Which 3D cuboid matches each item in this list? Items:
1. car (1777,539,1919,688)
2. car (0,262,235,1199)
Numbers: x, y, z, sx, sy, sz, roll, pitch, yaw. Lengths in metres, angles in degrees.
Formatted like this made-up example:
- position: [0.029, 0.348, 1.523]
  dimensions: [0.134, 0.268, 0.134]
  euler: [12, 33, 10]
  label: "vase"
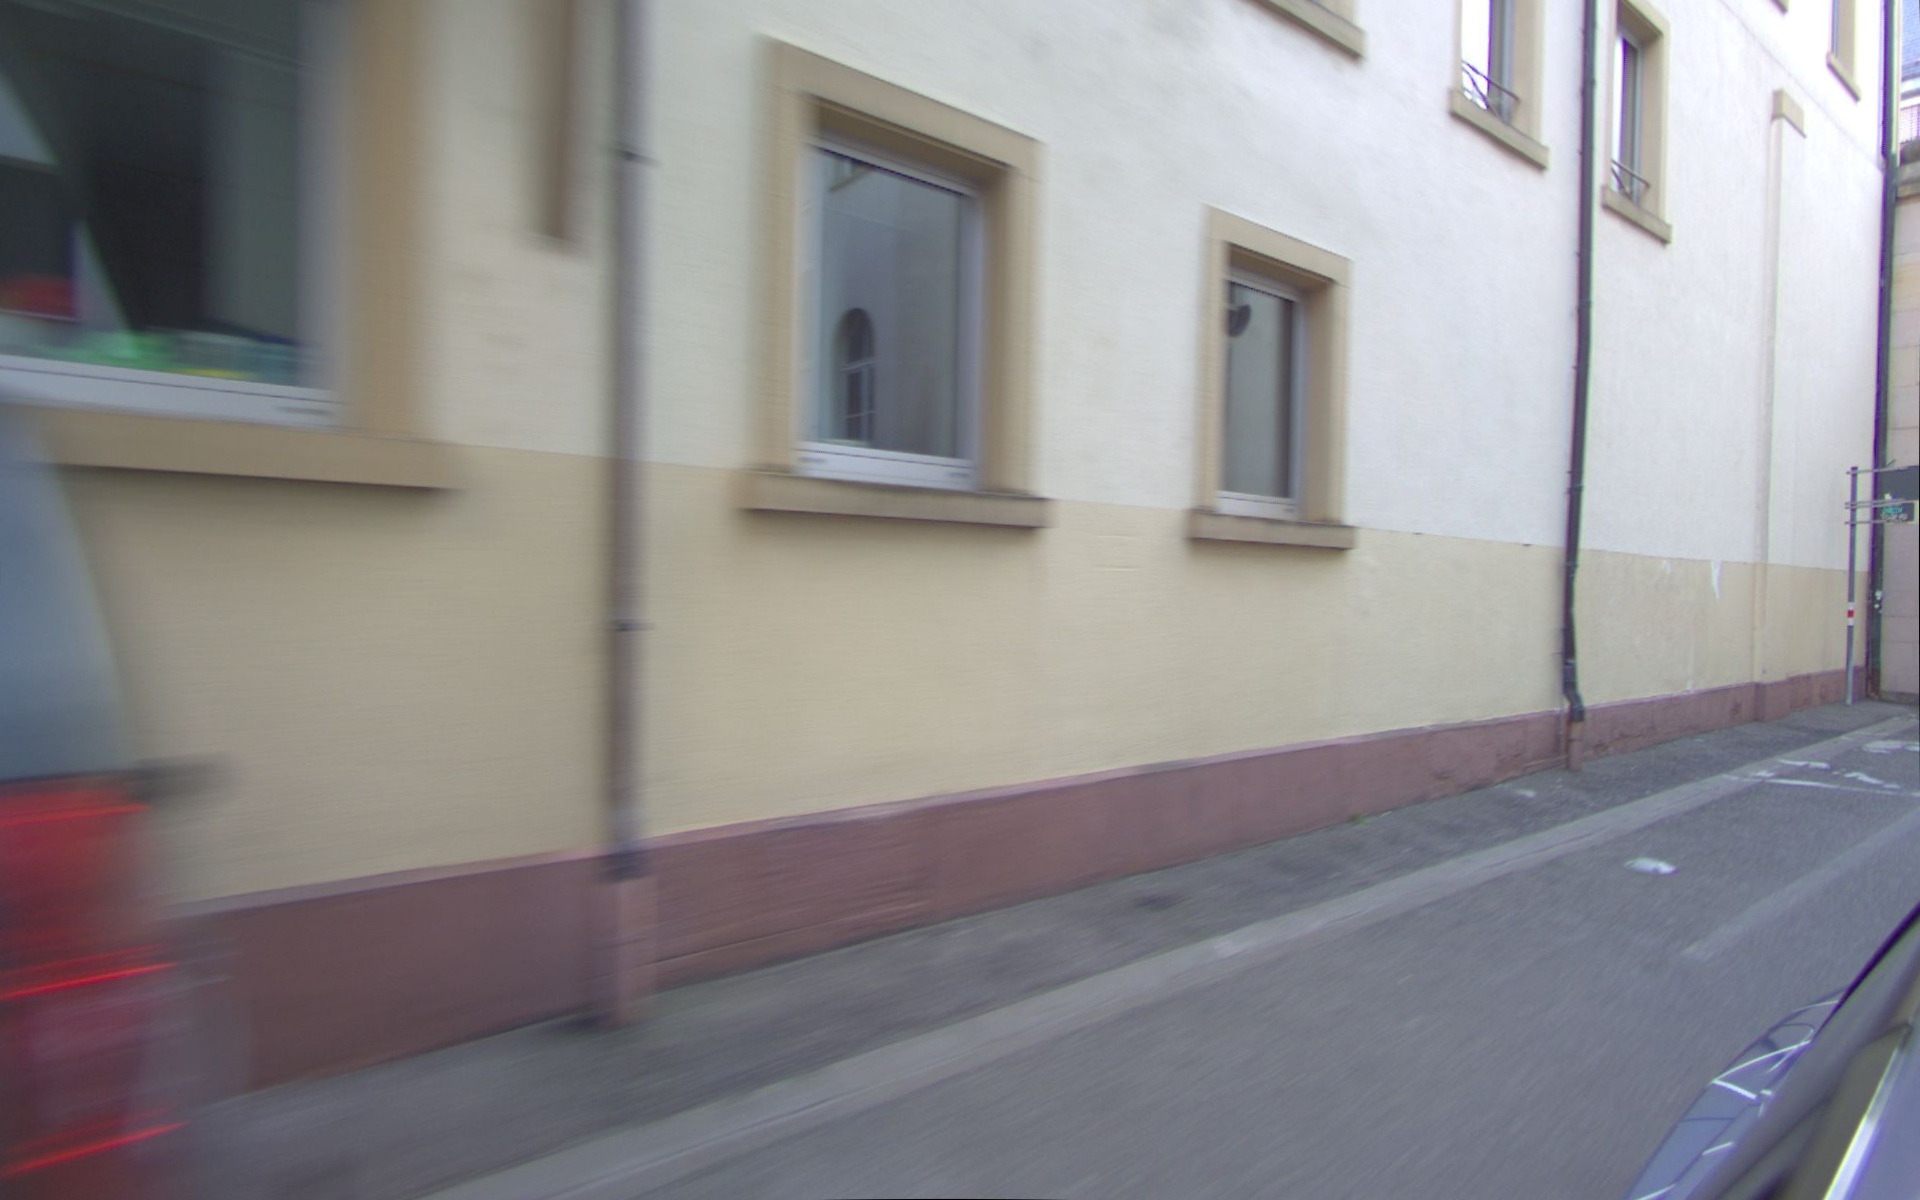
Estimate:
- position: [18.031, 0.239, 17.025]
  dimensions: [1.969, 2.543, 6.454]
  euler: [-2, 3, -44]
  label: "car"
- position: [-2.900, 0.566, 0.431]
  dimensions: [4.089, 1.778, 1.859]
  euler: [0, 1, -40]
  label: "car"
